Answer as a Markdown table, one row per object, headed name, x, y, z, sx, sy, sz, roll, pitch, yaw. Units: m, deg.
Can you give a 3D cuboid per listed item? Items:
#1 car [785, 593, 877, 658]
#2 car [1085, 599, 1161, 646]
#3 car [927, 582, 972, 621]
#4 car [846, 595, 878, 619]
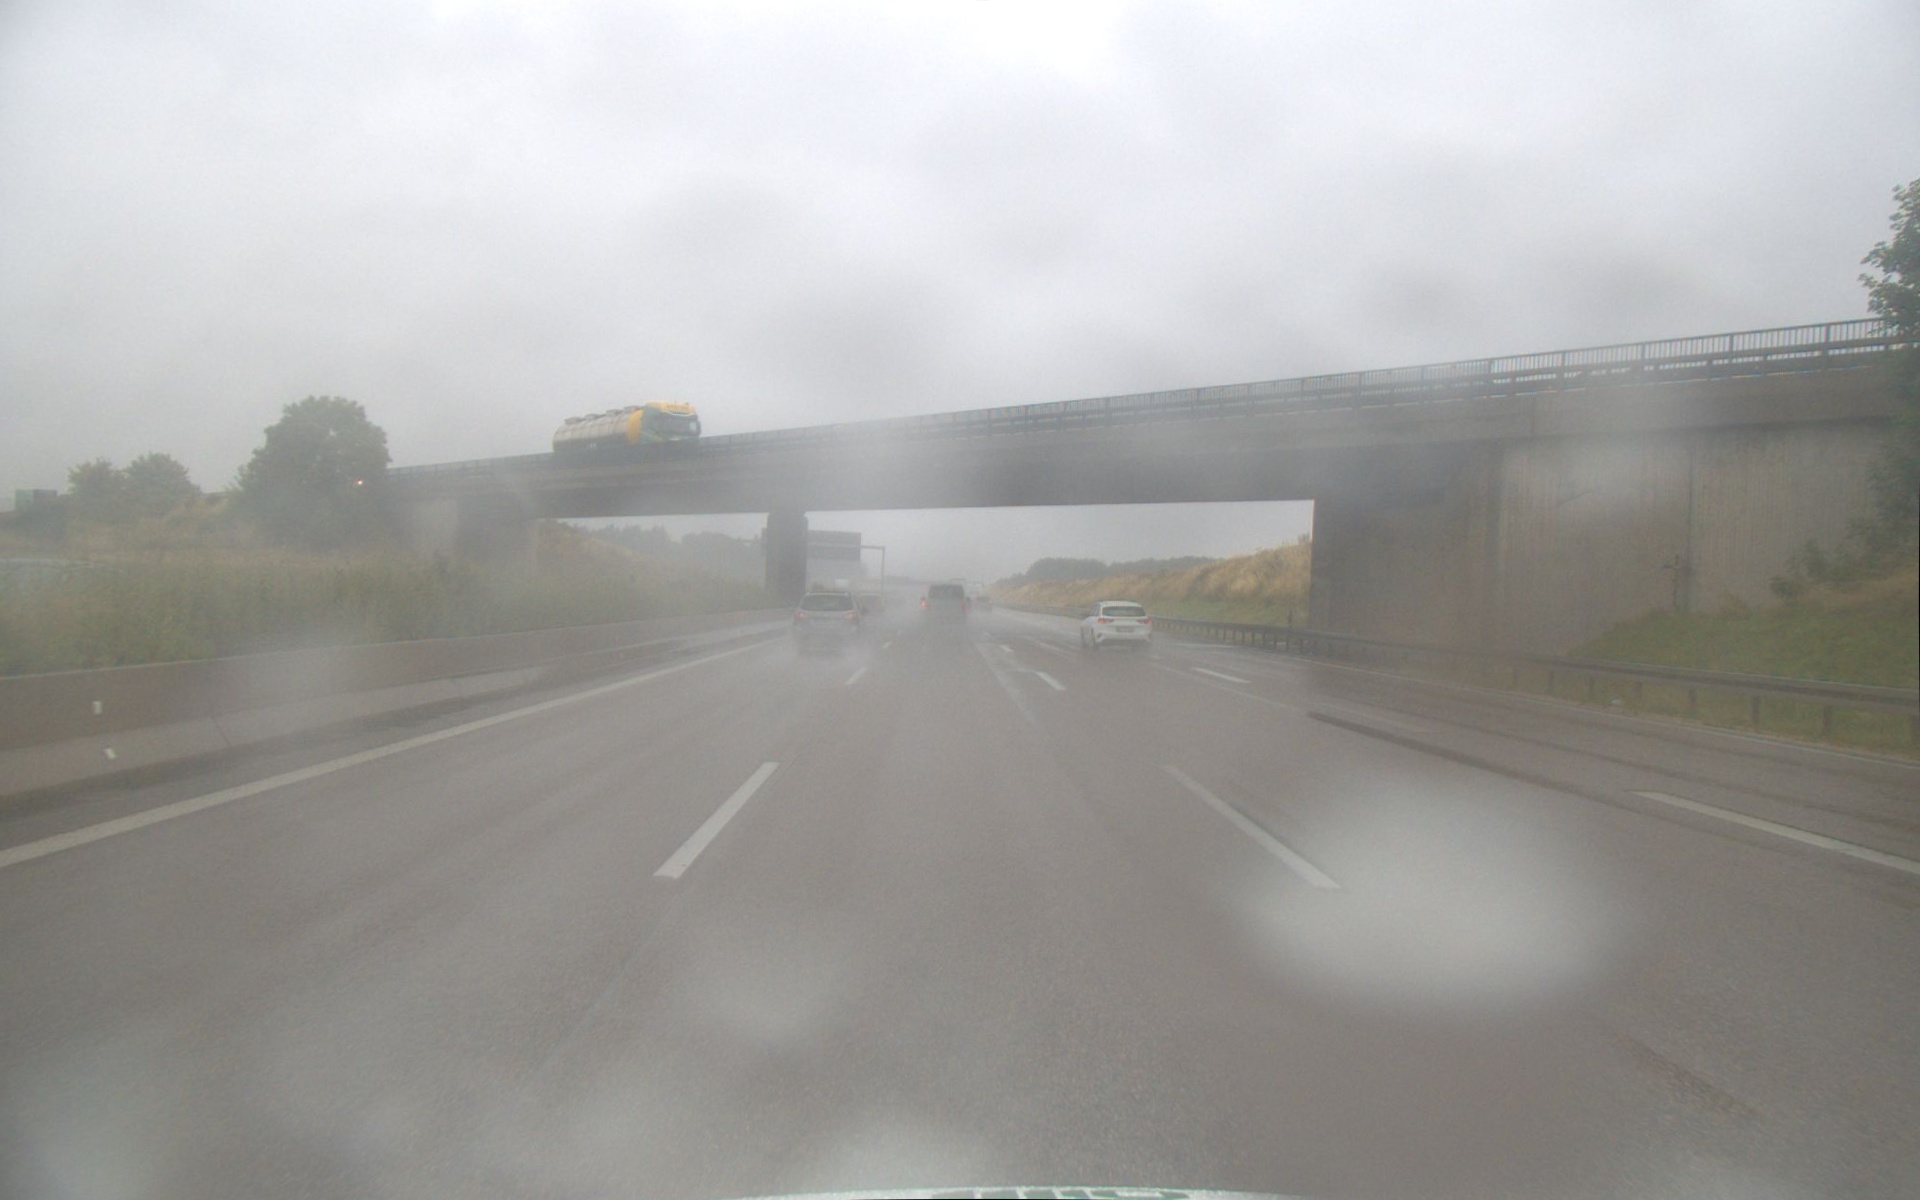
| name | x | y | z | sx | sy | sz | roll | pitch | yaw |
| --- | --- | --- | --- | --- | --- | --- | --- | --- | --- |
| car | -3.228 | 0.606 | 42.202 | 1.808 | 1.539 | 4.757 | 1 | 0 | 2 |
| car | 4.852 | 0.665 | 49.732 | 1.952 | 1.288 | 4.000 | 1 | 0 | 1 |
| car | -0.469 | 0.080 | 72.200 | 1.859 | 1.613 | 3.999 | 1 | 0 | -1 |
| car | -5.716 | 0.422 | 96.883 | 1.654 | 1.378 | 3.999 | 1 | 0 | -1 |
